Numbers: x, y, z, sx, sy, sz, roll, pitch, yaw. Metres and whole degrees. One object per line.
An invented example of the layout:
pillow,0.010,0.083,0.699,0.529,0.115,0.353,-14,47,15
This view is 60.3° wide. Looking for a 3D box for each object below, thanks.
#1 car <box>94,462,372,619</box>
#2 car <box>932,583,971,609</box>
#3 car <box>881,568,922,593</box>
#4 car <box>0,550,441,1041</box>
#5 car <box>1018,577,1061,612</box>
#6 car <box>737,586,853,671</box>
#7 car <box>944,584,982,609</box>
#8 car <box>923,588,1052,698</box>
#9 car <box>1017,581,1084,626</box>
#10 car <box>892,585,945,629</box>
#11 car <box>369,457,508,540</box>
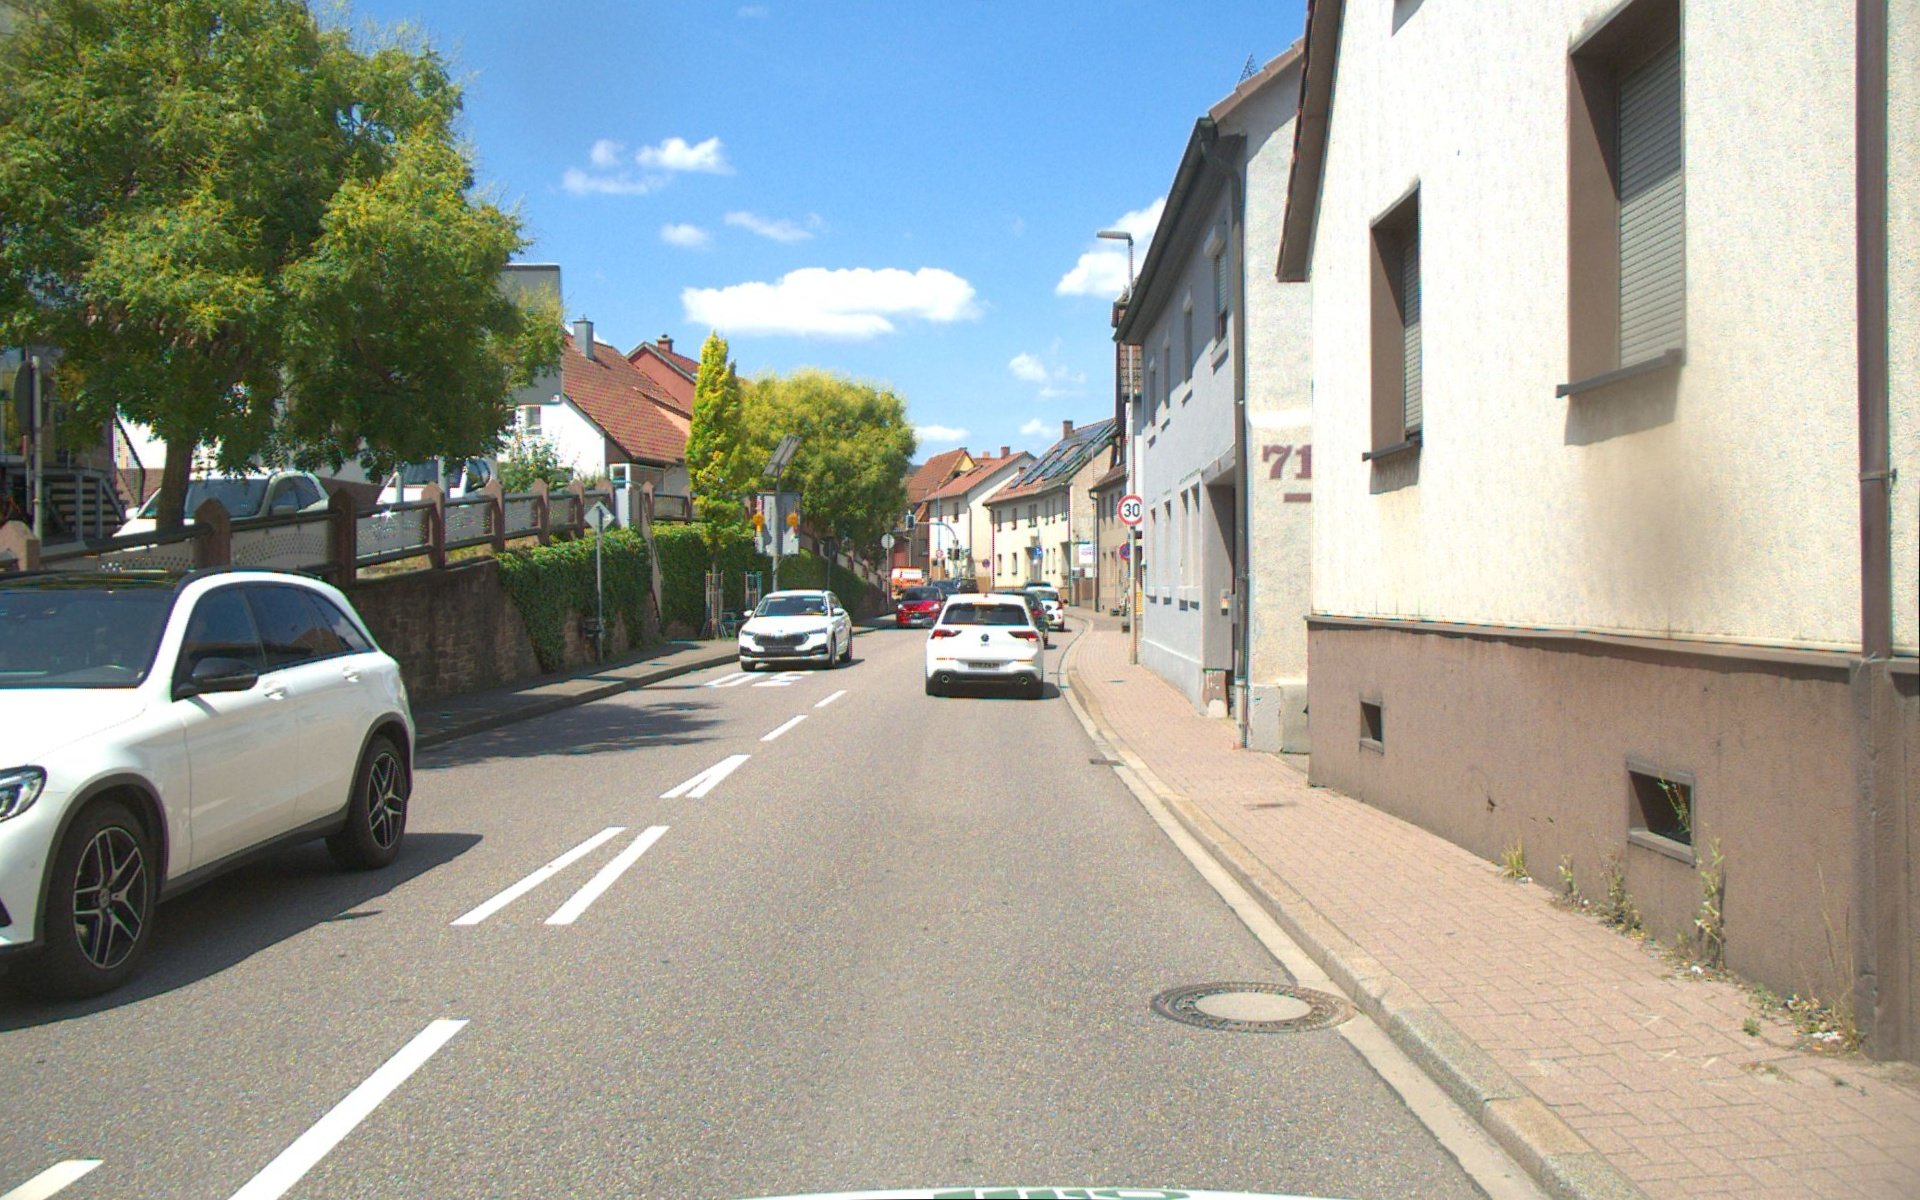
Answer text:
car,-8.390,-0.791,19.472,1.659,1.569,3.856,0,6,-3
car,-0.419,-0.223,90.919,1.756,1.401,4.119,0,1,5
car,-4.177,-1.381,118.222,1.750,1.796,3.976,-1,1,-21
car,-4.029,0.641,7.632,1.805,1.607,4.446,-1,0,0
car,3.667,-0.271,76.467,1.739,1.565,3.999,0,1,-1
car,-3.139,0.502,32.227,1.776,1.472,4.430,-2,0,0
car,0.142,-0.226,104.318,1.743,1.565,3.991,0,1,-10
car,0.363,0.593,25.122,1.771,1.493,3.999,1,0,-1
car,3.239,0.128,58.487,1.769,1.493,4.003,1,0,11
car,-1.480,0.238,59.888,1.583,1.469,3.803,-2,1,3
car,-9.825,-1.985,31.442,1.545,1.385,3.856,0,6,-3
